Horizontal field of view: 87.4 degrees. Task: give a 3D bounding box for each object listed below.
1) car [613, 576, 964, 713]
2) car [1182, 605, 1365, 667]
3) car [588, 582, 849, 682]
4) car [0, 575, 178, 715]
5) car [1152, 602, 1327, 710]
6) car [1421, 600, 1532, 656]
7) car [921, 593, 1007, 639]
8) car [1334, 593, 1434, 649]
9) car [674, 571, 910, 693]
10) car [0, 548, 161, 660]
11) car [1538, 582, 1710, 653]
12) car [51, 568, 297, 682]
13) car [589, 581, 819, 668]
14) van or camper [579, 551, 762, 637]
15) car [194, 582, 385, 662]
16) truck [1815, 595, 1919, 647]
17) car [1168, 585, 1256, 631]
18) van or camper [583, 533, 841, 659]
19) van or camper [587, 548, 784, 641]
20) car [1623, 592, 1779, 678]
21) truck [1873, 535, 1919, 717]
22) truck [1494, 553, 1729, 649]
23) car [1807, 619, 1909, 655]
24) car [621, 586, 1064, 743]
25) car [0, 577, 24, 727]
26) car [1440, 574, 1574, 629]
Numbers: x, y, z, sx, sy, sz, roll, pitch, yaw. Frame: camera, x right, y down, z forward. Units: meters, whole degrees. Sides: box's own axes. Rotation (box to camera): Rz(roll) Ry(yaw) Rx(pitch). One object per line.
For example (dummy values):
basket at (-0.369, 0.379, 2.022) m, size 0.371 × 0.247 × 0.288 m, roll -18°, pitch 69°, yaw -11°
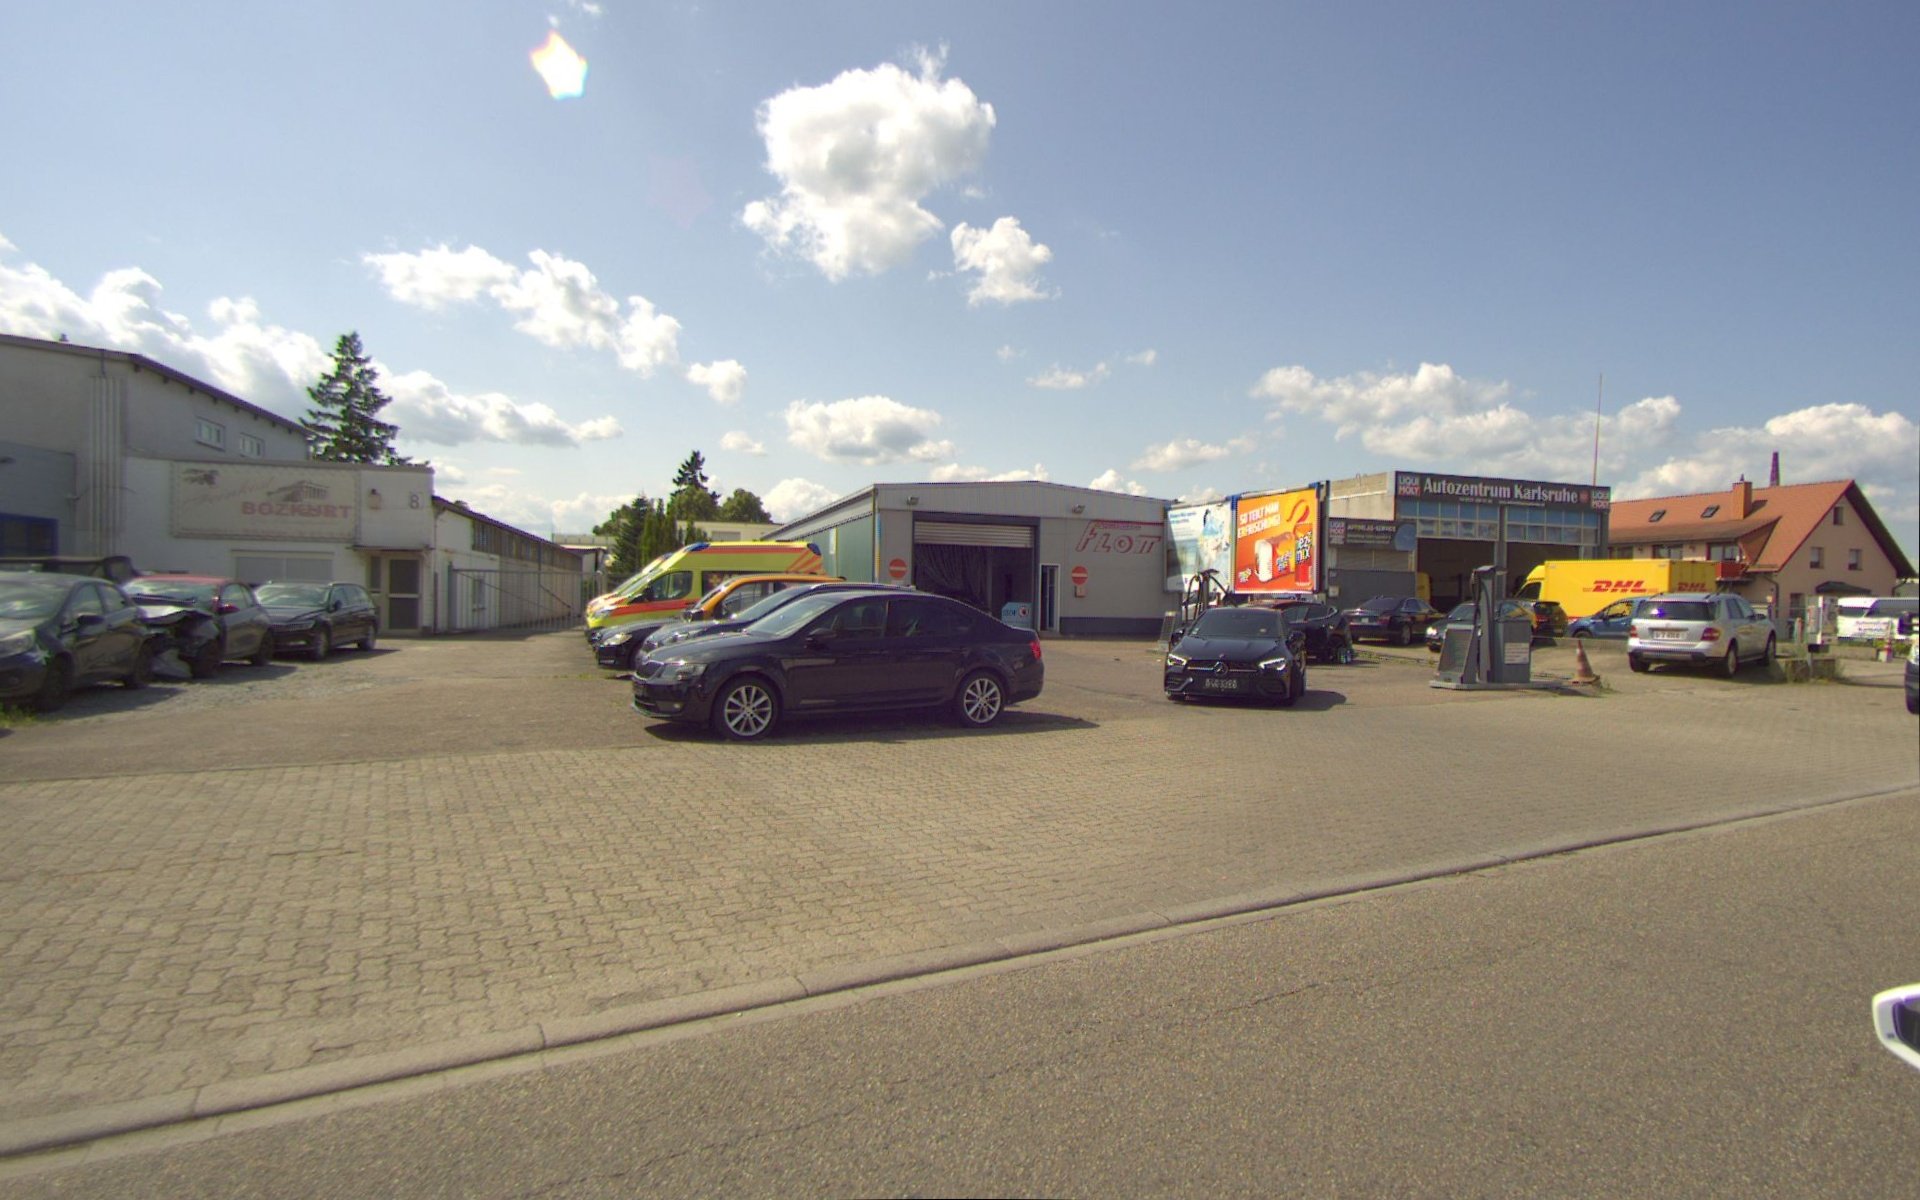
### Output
car at (-2.203, 0.530, 13.203) m, size 4.206 × 1.554 × 1.746 m, roll 1°, pitch 1°, yaw -30°
car at (7.288, 0.791, 23.451) m, size 3.691 × 1.307 × 1.890 m, roll 0°, pitch 1°, yaw -19°
car at (-4.181, 0.544, 17.509) m, size 4.115 × 1.554 × 1.746 m, roll 1°, pitch -1°, yaw -30°
car at (-10.812, 0.432, 11.625) m, size 1.769 × 1.398 × 3.822 m, roll 2°, pitch 0°, yaw -22°
car at (4.231, 0.809, 15.924) m, size 1.959 × 1.413 × 4.596 m, roll 1°, pitch -1°, yaw 7°
car at (14.950, 0.753, 28.994) m, size 3.979 × 1.306 × 1.654 m, roll -4°, pitch 4°, yaw -43°
car at (0.064, 0.465, 31.041) m, size 1.745 × 1.315 × 3.515 m, roll 1°, pitch 0°, yaw -16°
car at (13.269, 0.598, 31.324) m, size 1.841 × 1.391 × 3.982 m, roll 4°, pitch 4°, yaw 38°
car at (-2.537, 0.464, 15.143) m, size 3.253 × 1.678 × 1.439 m, roll 1°, pitch 0°, yaw -23°
car at (-16.992, 0.054, 17.917) m, size 3.943 × 1.920 × 1.707 m, roll 1°, pitch 0°, yaw -23°
car at (19.721, 0.473, 30.027) m, size 1.827 × 1.834 × 3.922 m, roll 1°, pitch 2°, yaw -20°
car at (-12.011, 0.357, 15.663) m, size 1.767 × 1.457 × 3.558 m, roll 5°, pitch -1°, yaw -17°
car at (-4.990, 0.472, 19.583) m, size 4.107 × 1.554 × 1.749 m, roll 1°, pitch -1°, yaw -25°
van or camper at (-8.989, -0.178, 31.206) m, size 5.284 × 2.509 × 1.989 m, roll 0°, pitch 1°, yaw -23°
car at (-12.961, 0.393, 19.730) m, size 1.880 × 1.398 × 3.988 m, roll 1°, pitch 0°, yaw -14°
truck at (47.215, 1.087, 51.766) m, size 5.628 × 2.521 × 2.110 m, roll 1°, pitch 0°, yaw -17°
car at (9.274, 0.277, 37.227) m, size 1.537 × 1.613 × 3.504 m, roll 1°, pitch 0°, yaw -17°
van or camper at (-5.436, -0.087, 22.067) m, size 5.284 × 2.509 × 1.989 m, roll 0°, pitch 1°, yaw -23°
van or camper at (-7.878, -0.160, 28.867) m, size 5.284 × 2.509 × 1.989 m, roll 0°, pitch 1°, yaw -23°
car at (17.148, 0.717, 23.162) m, size 4.667 × 1.728 × 1.814 m, roll -1°, pitch 2°, yaw -40°
truck at (18.655, 0.501, 17.257) m, size 6.983 × 2.895 × 2.210 m, roll 1°, pitch 2°, yaw -29°
truck at (21.787, 0.001, 34.074) m, size 2.488 × 2.888 × 6.594 m, roll 1°, pitch 1°, yaw -17°
car at (40.808, 1.681, 45.679) m, size 3.855 × 1.533 × 1.764 m, roll 1°, pitch 0°, yaw -18°
car at (-1.211, 0.616, 11.049) m, size 4.530 × 1.429 × 1.746 m, roll 1°, pitch 1°, yaw -30°
car at (-9.051, 0.466, 7.519) m, size 1.803 × 1.392 × 4.014 m, roll 2°, pitch -1°, yaw -25°
car at (18.353, 0.045, 33.884) m, size 1.705 × 1.754 × 3.838 m, roll 1°, pitch 0°, yaw -19°
